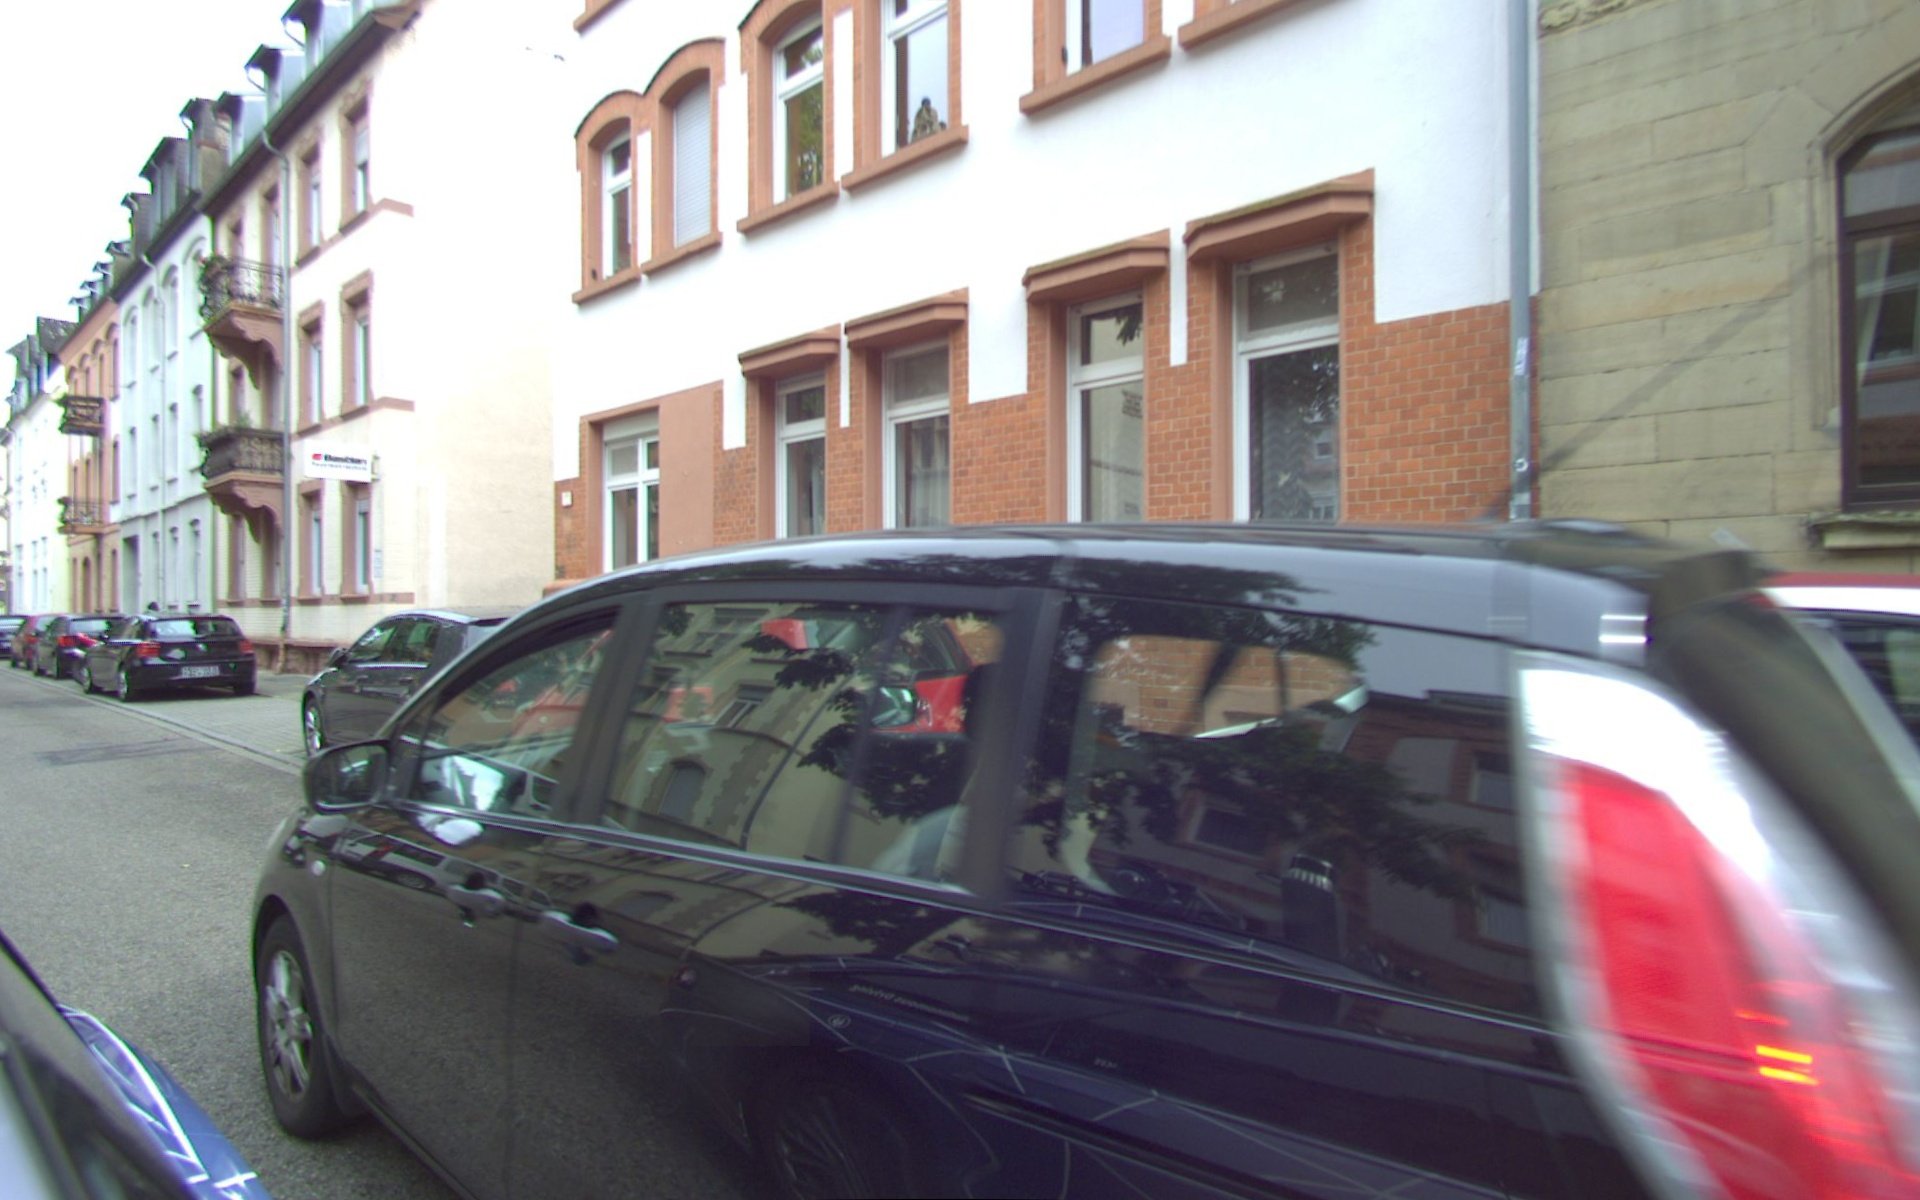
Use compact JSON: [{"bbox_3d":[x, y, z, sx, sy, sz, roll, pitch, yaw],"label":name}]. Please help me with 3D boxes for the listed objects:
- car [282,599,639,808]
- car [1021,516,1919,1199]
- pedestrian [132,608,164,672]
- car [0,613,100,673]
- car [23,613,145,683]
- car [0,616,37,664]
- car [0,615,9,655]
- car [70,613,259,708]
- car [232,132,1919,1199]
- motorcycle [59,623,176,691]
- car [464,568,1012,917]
[{"bbox_3d":[-4.533,0.767,8.908,3.917,1.427,1.450,-2,0,42],"label":"car"},{"bbox_3d":[2.123,0.588,3.148,3.548,1.522,1.650,-1,-1,37],"label":"car"},{"bbox_3d":[-21.081,1.024,26.281,0.544,1.621,0.570,-1,-1,41],"label":"pedestrian"},{"bbox_3d":[-24.178,1.108,26.846,3.341,1.483,1.589,-1,-1,41],"label":"car"},{"bbox_3d":[-19.742,1.031,22.776,3.471,1.393,1.638,-1,0,42],"label":"car"},{"bbox_3d":[-30.735,1.270,32.374,3.041,1.420,1.438,0,1,42],"label":"car"},{"bbox_3d":[-35.574,1.286,36.594,3.810,1.420,1.438,-2,0,43],"label":"car"},{"bbox_3d":[-13.577,0.953,17.197,3.999,1.401,1.880,-1,-1,42],"label":"car"},{"bbox_3d":[-0.217,0.576,2.502,4.208,1.642,1.790,-1,-1,43],"label":"car"},{"bbox_3d":[-16.414,1.089,19.762,1.684,1.235,0.487,-1,-1,-30],"label":"motorcycle"},{"bbox_3d":[-1.539,0.654,6.215,3.567,1.542,1.450,-2,0,42],"label":"car"}]
